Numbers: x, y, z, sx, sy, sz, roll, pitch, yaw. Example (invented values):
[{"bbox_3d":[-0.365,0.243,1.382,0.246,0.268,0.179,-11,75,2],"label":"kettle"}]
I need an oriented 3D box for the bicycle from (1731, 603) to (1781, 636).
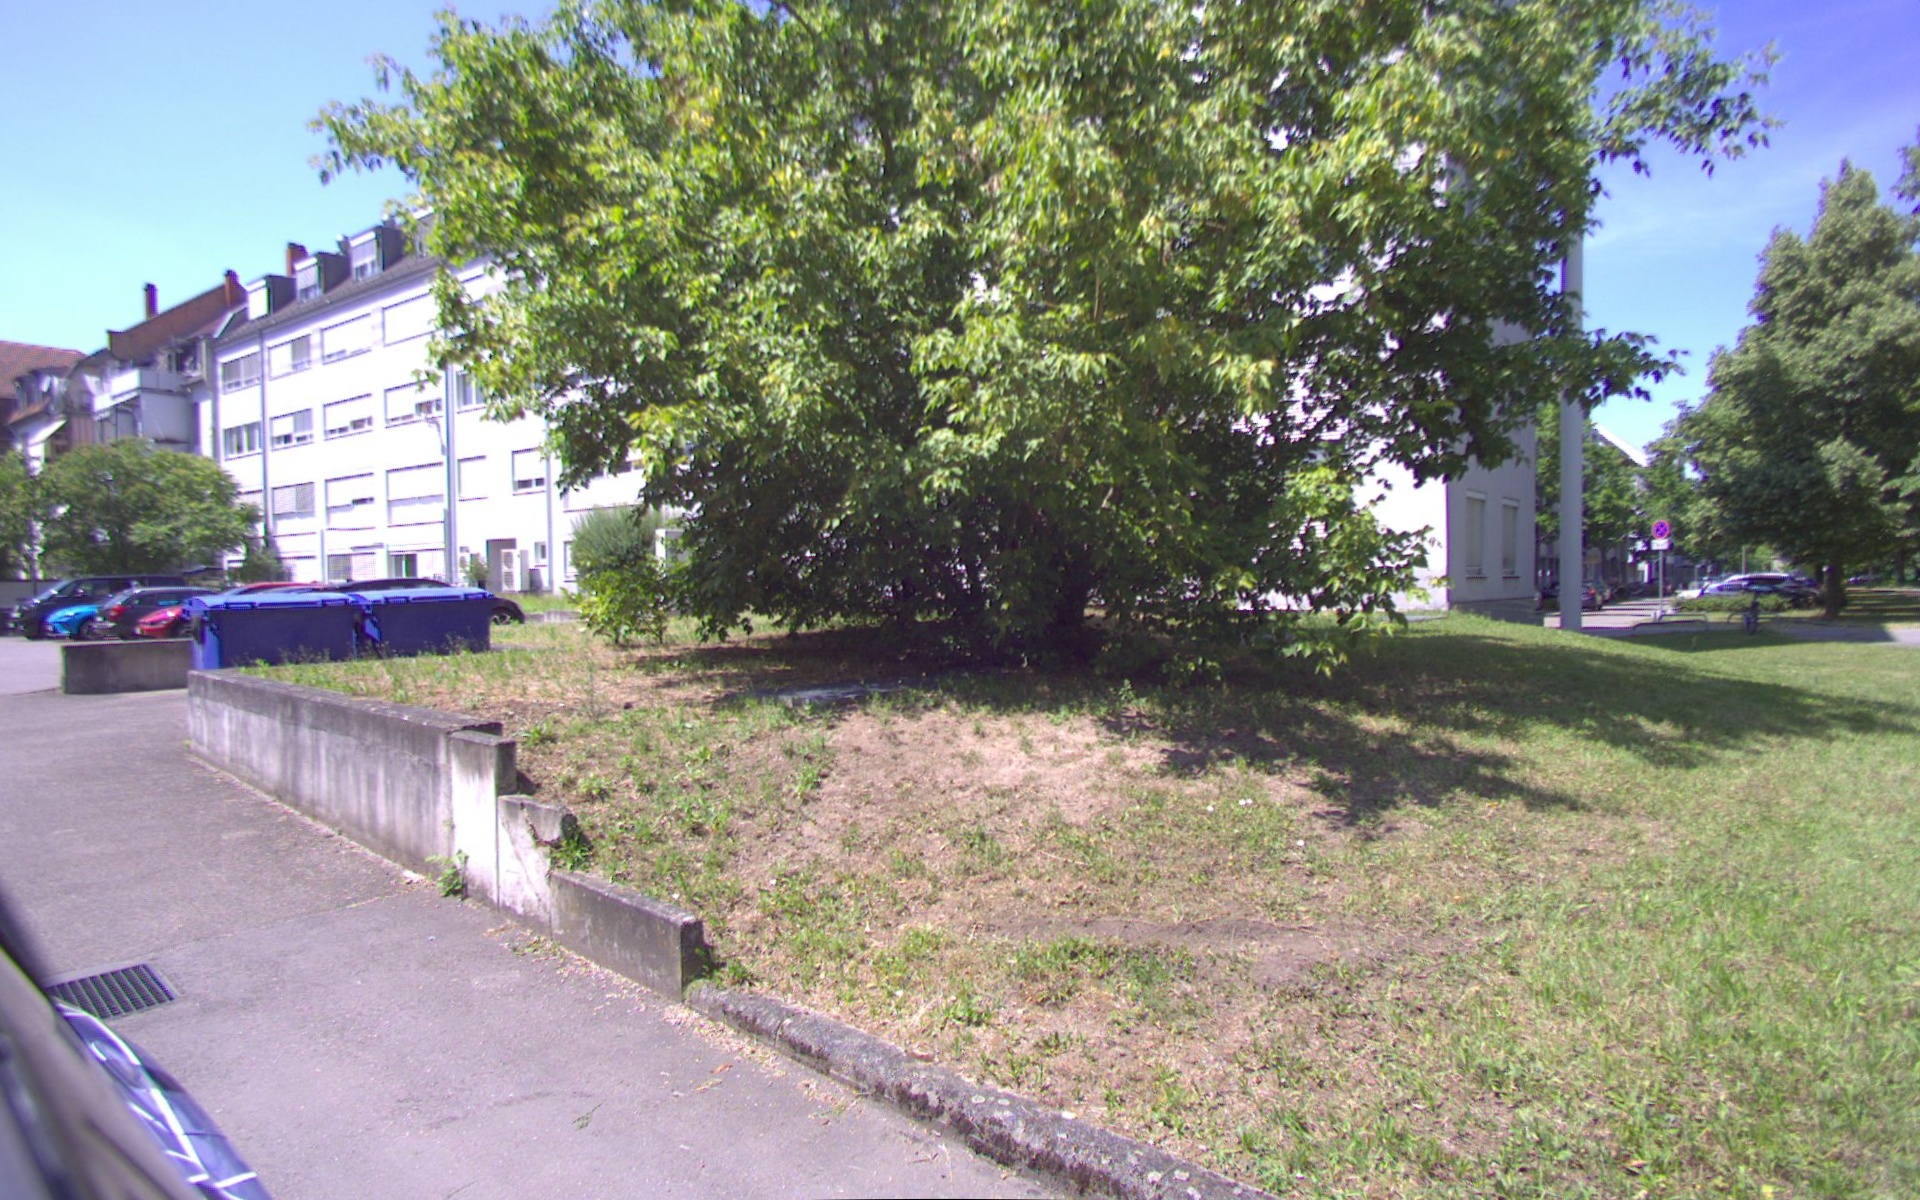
[{"bbox_3d":[17.636,0.423,22.419,0.734,0.646,1.594,-3,-1,43],"label":"bicycle"}]

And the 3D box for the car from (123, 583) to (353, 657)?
[{"bbox_3d":[-17.046,0.400,24.086,1.610,1.580,4.173,1,1,36],"label":"car"}]

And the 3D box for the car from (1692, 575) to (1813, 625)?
[{"bbox_3d":[33.937,-0.034,43.403,3.997,2.029,1.974,1,1,40],"label":"car"}]

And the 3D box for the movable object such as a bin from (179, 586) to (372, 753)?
[{"bbox_3d":[-6.350,0.578,9.406,1.095,1.399,1.255,1,1,42],"label":"movable object such as a bin"}]

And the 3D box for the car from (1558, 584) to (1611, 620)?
[{"bbox_3d":[29.831,0.052,48.431,1.799,1.615,3.860,0,1,26],"label":"car"}]

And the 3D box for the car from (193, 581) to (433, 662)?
[{"bbox_3d":[-14.159,0.390,22.367,1.610,1.580,4.173,1,1,36],"label":"car"}]

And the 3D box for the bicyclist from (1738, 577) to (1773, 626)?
[{"bbox_3d":[17.641,0.026,22.436,0.518,1.053,0.515,-4,-2,44],"label":"bicyclist"}]

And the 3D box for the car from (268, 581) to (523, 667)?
[{"bbox_3d":[-11.634,0.406,21.144,1.610,1.580,4.392,1,1,36],"label":"car"}]

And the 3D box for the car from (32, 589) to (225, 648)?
[{"bbox_3d":[-24.619,0.480,30.120,1.610,1.580,4.173,1,1,36],"label":"car"}]

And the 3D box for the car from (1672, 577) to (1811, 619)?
[{"bbox_3d":[31.358,-0.115,40.708,4.337,1.622,1.908,1,1,40],"label":"car"}]

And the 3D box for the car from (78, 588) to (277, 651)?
[{"bbox_3d":[-21.945,0.483,28.532,1.610,1.580,4.173,1,1,36],"label":"car"}]

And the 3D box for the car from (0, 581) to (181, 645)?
[{"bbox_3d":[-27.208,0.330,31.619,2.006,1.837,4.173,1,1,36],"label":"car"}]

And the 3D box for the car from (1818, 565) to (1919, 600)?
[{"bbox_3d":[46.944,-0.904,52.257,3.997,1.780,1.807,1,1,40],"label":"car"}]

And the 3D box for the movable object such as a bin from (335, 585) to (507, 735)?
[{"bbox_3d":[-5.522,0.554,10.386,1.095,1.399,1.255,1,1,42],"label":"movable object such as a bin"}]
